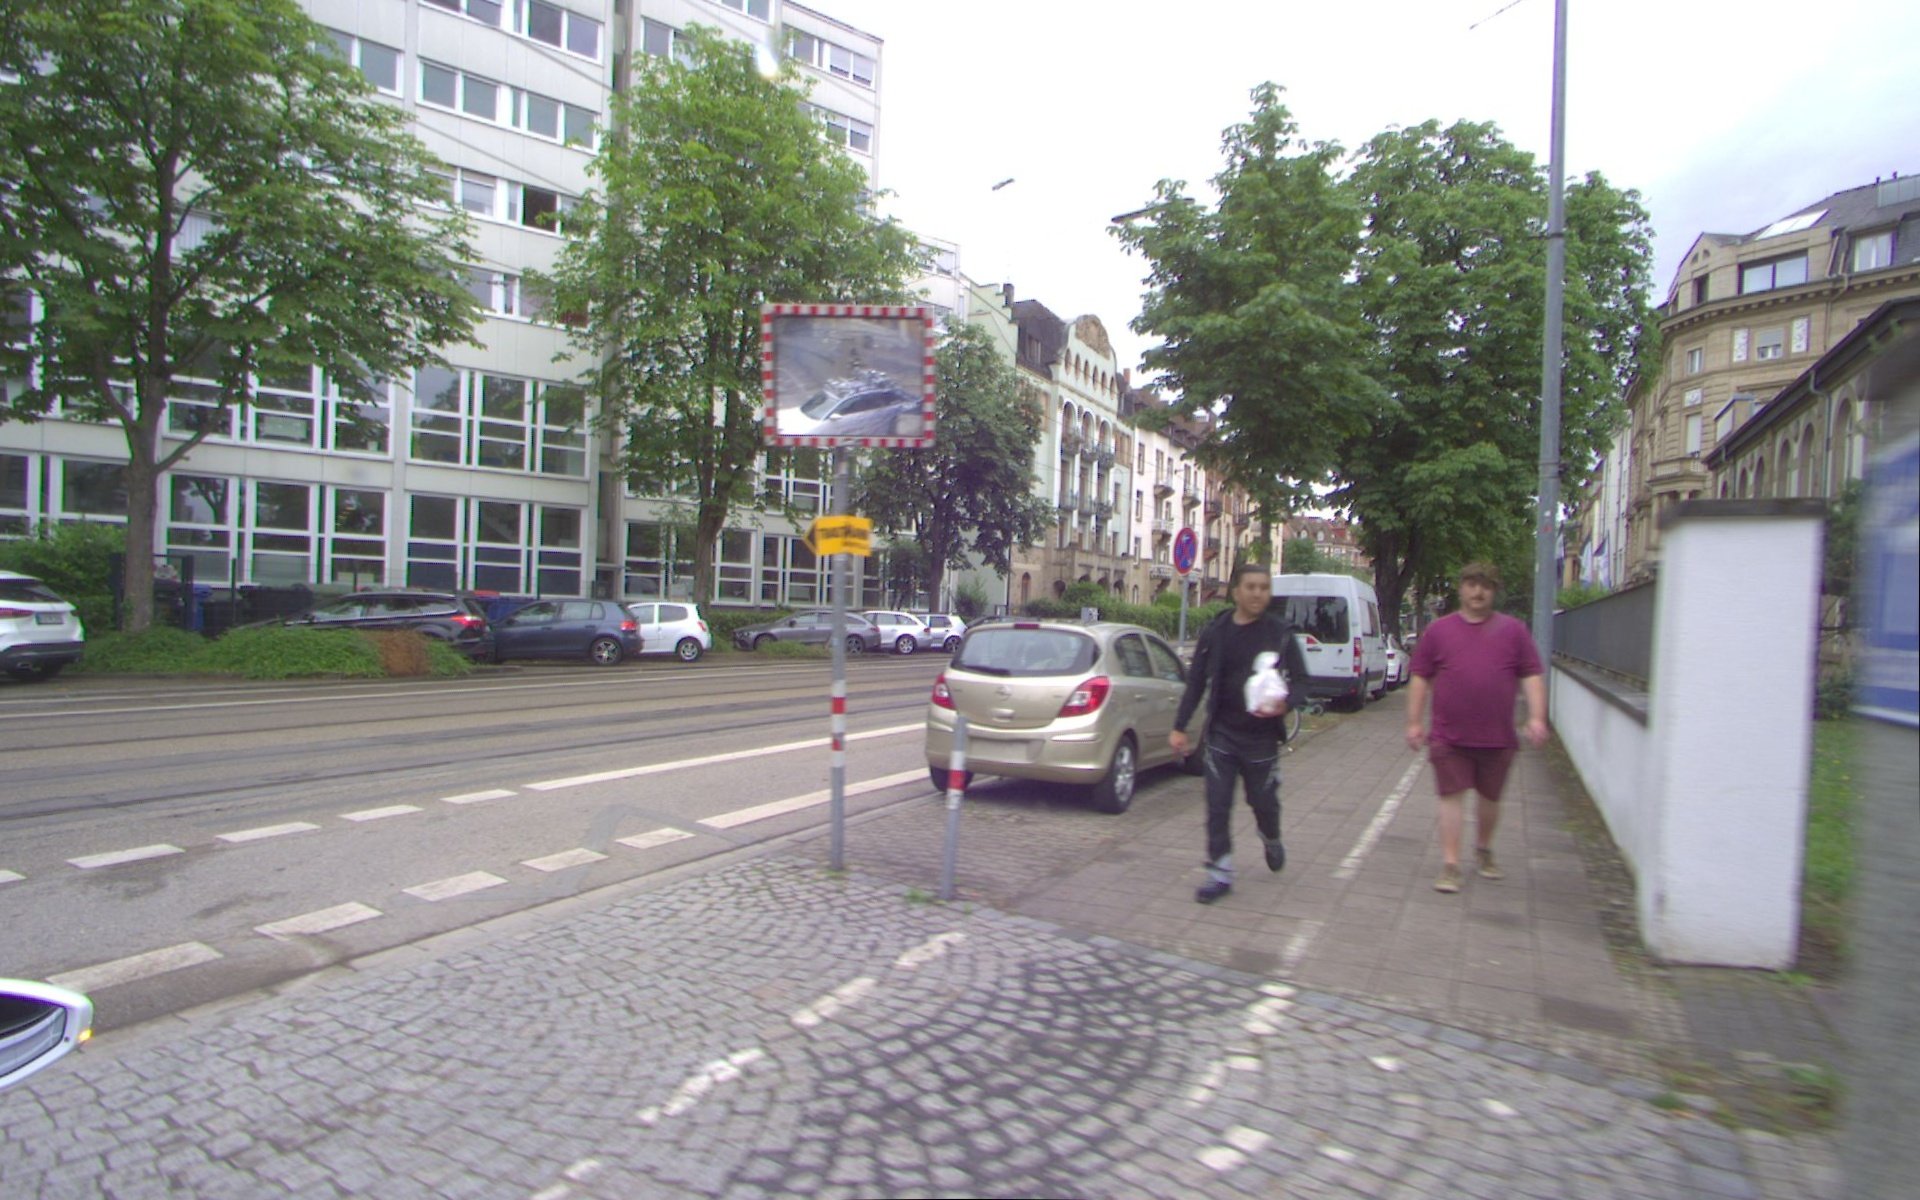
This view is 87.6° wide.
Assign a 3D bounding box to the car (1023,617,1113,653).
[{"bbox_3d":[4.878,1.583,45.468,3.724,1.461,1.691,2,0,-10],"label":"car"}]

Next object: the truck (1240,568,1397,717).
[{"bbox_3d":[7.319,0.797,20.104,2.136,2.579,4.908,2,-1,29],"label":"truck"}]

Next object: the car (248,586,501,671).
[{"bbox_3d":[-11.081,0.551,19.251,3.886,1.493,1.669,1,0,-18],"label":"car"}]

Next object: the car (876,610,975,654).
[{"bbox_3d":[-1.267,1.153,36.482,3.329,1.493,1.414,2,0,-15],"label":"car"}]

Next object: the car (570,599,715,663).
[{"bbox_3d":[-7.858,0.776,24.988,3.329,1.493,1.414,1,0,-15],"label":"car"}]

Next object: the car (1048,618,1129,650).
[{"bbox_3d":[6.485,1.717,50.667,3.724,1.461,1.691,2,0,-10],"label":"car"}]

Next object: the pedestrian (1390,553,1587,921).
[{"bbox_3d":[2.765,0.656,5.353,0.795,1.741,0.953,2,0,23],"label":"pedestrian"}]

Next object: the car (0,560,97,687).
[{"bbox_3d":[-14.036,0.267,13.444,3.345,1.639,1.555,1,0,-12],"label":"car"}]

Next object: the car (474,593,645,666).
[{"bbox_3d":[-8.741,0.650,22.103,3.329,1.493,1.414,1,0,-15],"label":"car"}]

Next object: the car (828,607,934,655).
[{"bbox_3d":[-2.669,1.044,33.739,3.329,1.493,1.414,2,0,-15],"label":"car"}]

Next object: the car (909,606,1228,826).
[{"bbox_3d":[1.173,0.877,9.069,1.639,1.520,3.581,2,-1,28],"label":"car"}]

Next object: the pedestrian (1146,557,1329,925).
[{"bbox_3d":[1.504,0.674,5.331,0.789,1.741,0.953,1,0,23],"label":"pedestrian"}]

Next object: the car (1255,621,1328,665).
[{"bbox_3d":[14.123,1.801,42.498,1.970,1.725,4.580,2,-1,31],"label":"car"}]

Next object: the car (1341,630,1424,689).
[{"bbox_3d":[11.177,1.502,26.371,1.783,1.372,3.799,2,-1,26],"label":"car"}]

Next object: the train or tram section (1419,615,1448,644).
[{"bbox_3d":[64.982,4.002,137.202,2.627,3.662,14.710,2,0,29],"label":"train or tram section"}]

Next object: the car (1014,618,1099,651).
[{"bbox_3d":[4.607,1.645,47.943,3.724,1.461,1.691,2,0,-10],"label":"car"}]

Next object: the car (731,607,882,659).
[{"bbox_3d":[-4.746,1.043,30.911,4.421,1.492,1.414,2,-3,-19],"label":"car"}]

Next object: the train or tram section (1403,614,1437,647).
[{"bbox_3d":[53.829,3.511,117.007,2.627,3.662,12.406,2,0,29],"label":"train or tram section"}]
